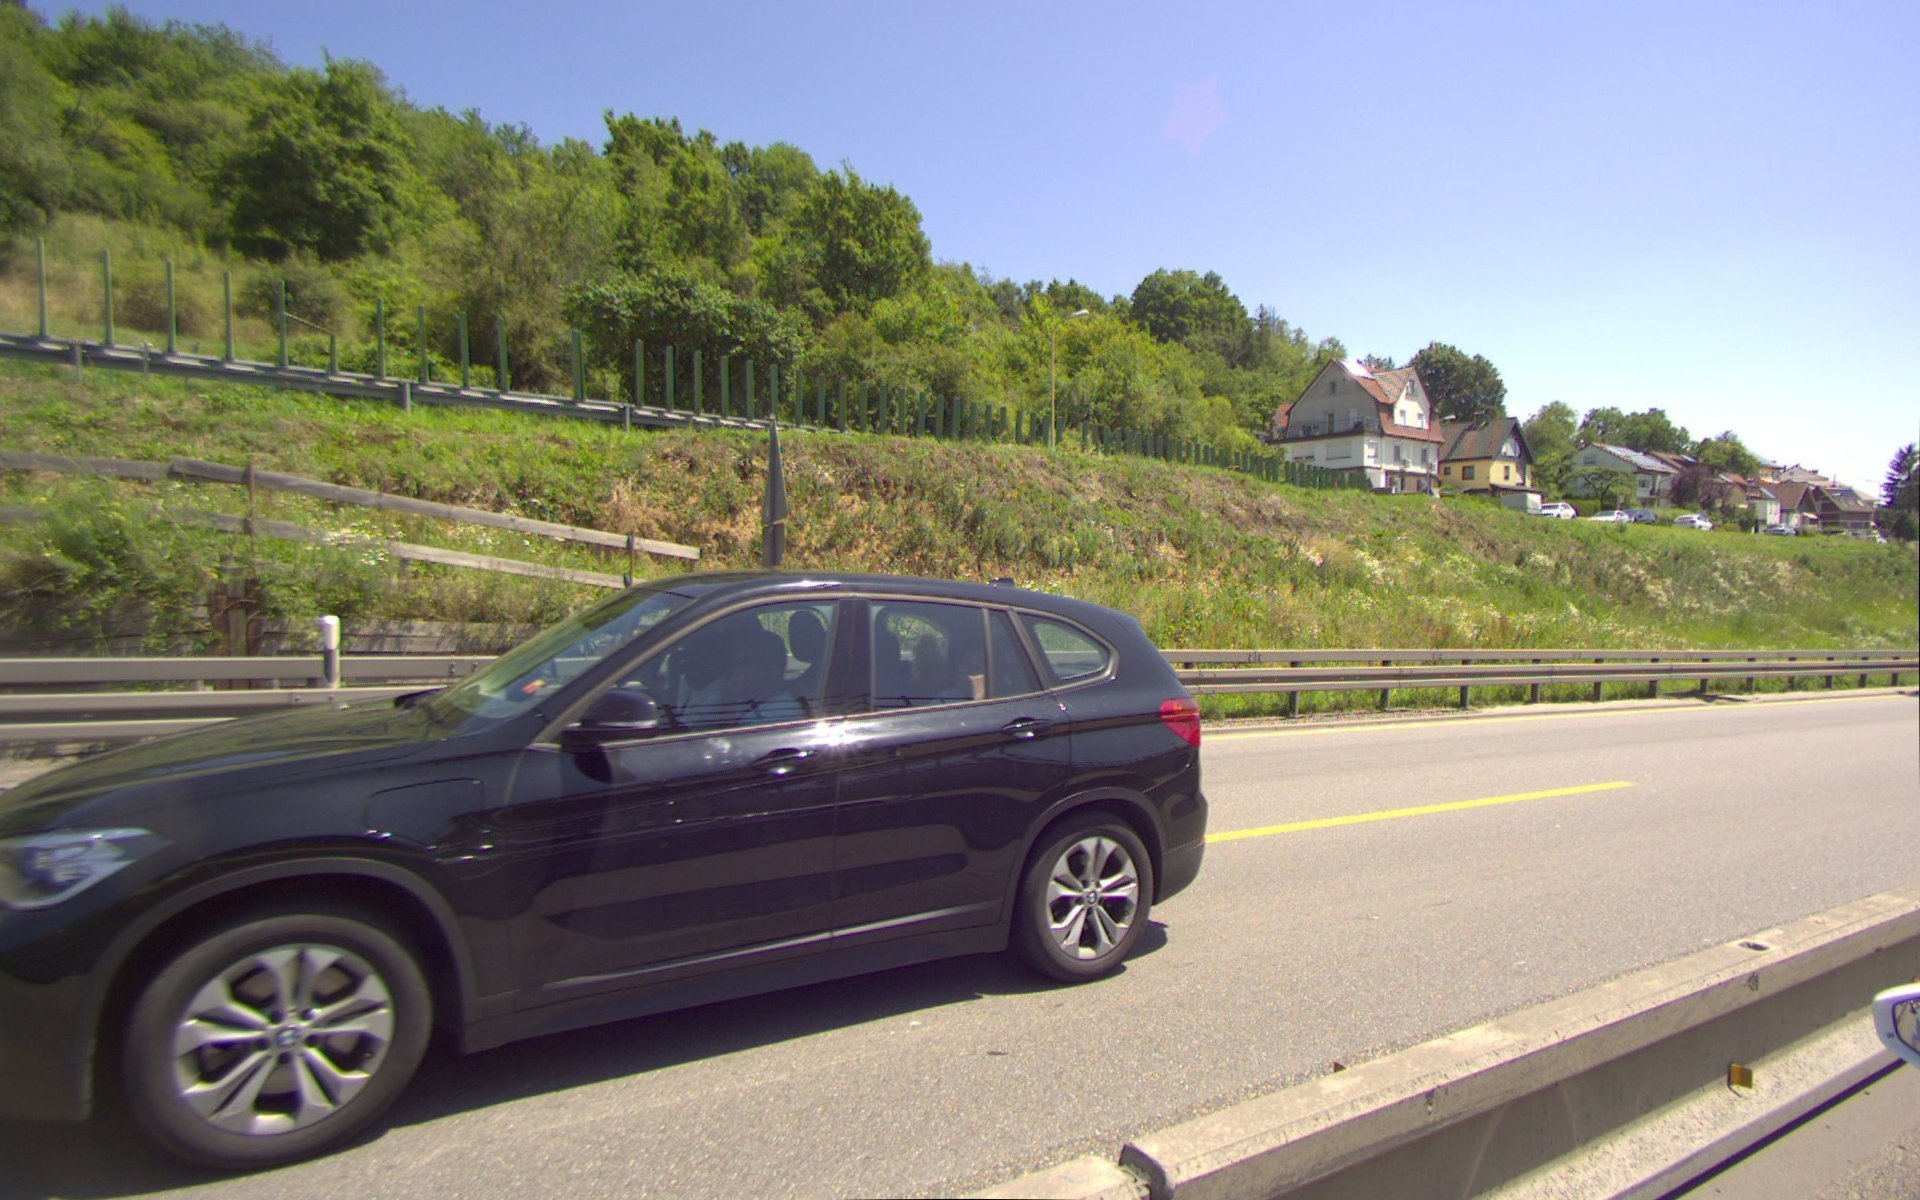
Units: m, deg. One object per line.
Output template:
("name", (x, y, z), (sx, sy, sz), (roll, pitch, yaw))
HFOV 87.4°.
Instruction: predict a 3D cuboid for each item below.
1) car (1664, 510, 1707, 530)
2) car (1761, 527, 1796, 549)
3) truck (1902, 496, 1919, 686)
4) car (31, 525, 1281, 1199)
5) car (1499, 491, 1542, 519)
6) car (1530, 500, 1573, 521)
("car", (60.053, -6.605, 83.114), (3.970, 1.337, 1.975), (2, 4, -42))
("car", (76.421, -5.741, 93.751), (3.969, 1.751, 1.908), (1, 0, -41))
("truck", (25.106, -0.070, 23.144), (6.409, 4.294, 3.165), (2, 0, -30))
("car", (-0.766, 0.658, 4.029), (4.058, 1.582, 1.690), (1, 0, -32))
("car", (35.456, -5.967, 63.514), (1.706, 1.417, 3.784), (4, 2, 39))
("car", (39.023, -5.881, 66.216), (3.244, 1.052, 1.271), (1, 0, -37))
